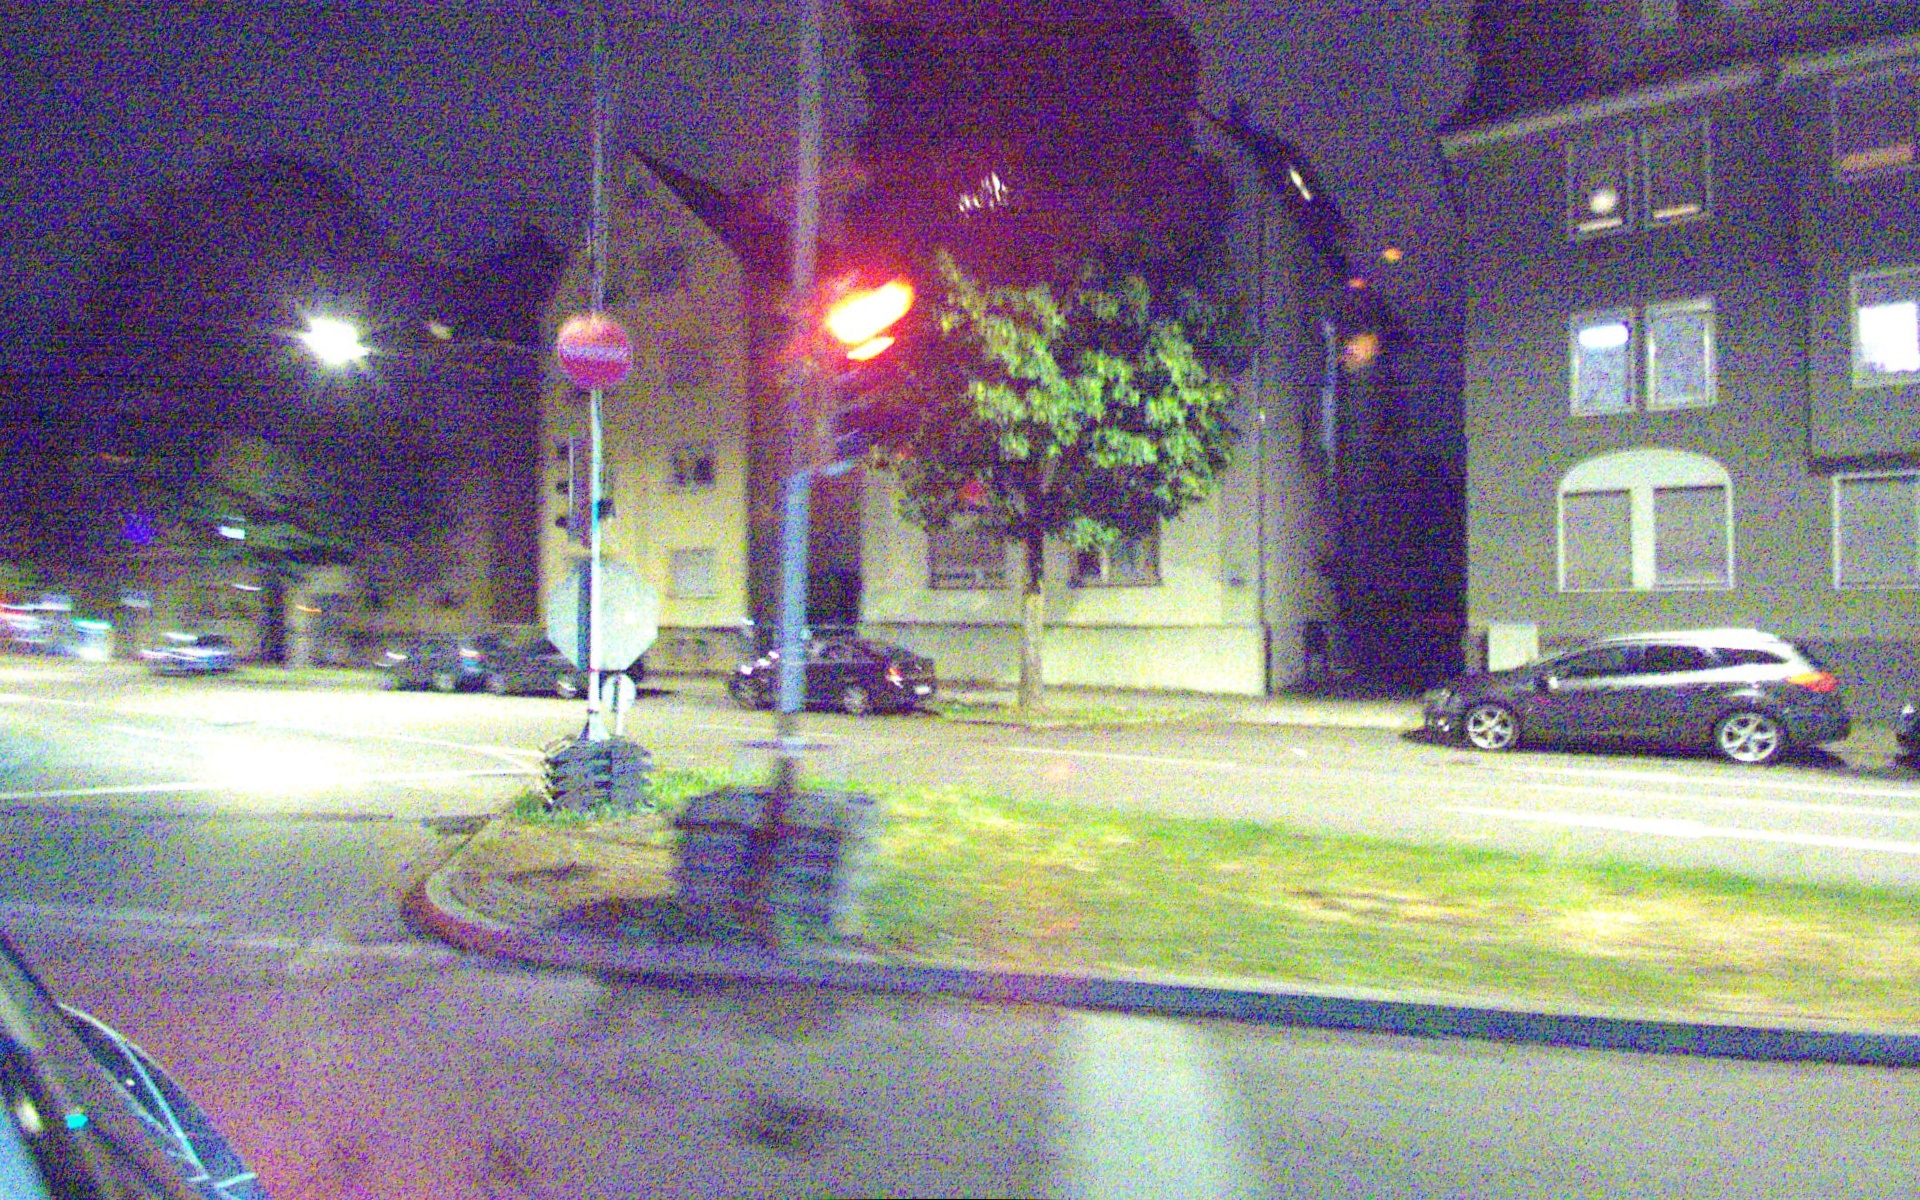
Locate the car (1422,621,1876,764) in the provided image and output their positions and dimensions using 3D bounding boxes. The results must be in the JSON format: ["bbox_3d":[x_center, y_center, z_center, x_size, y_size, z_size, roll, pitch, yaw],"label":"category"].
[{"bbox_3d":[8.440,1.043,12.864,4.459,1.490,1.846,-1,0,33],"label":"car"}]

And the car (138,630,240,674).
[{"bbox_3d":[-27.487,1.820,36.055,3.499,1.475,1.618,-1,-2,29],"label":"car"}]

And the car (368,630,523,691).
[{"bbox_3d":[-13.751,1.568,26.985,4.334,1.444,1.626,-1,1,31],"label":"car"}]

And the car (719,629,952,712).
[{"bbox_3d":[-2.510,1.323,20.072,4.387,1.444,1.847,-1,0,31],"label":"car"}]

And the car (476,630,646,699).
[{"bbox_3d":[-9.620,1.493,24.289,4.335,1.444,1.539,-1,1,33],"label":"car"}]

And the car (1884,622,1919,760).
[{"bbox_3d":[12.503,0.964,10.185,4.430,1.444,1.846,-1,0,33],"label":"car"}]
